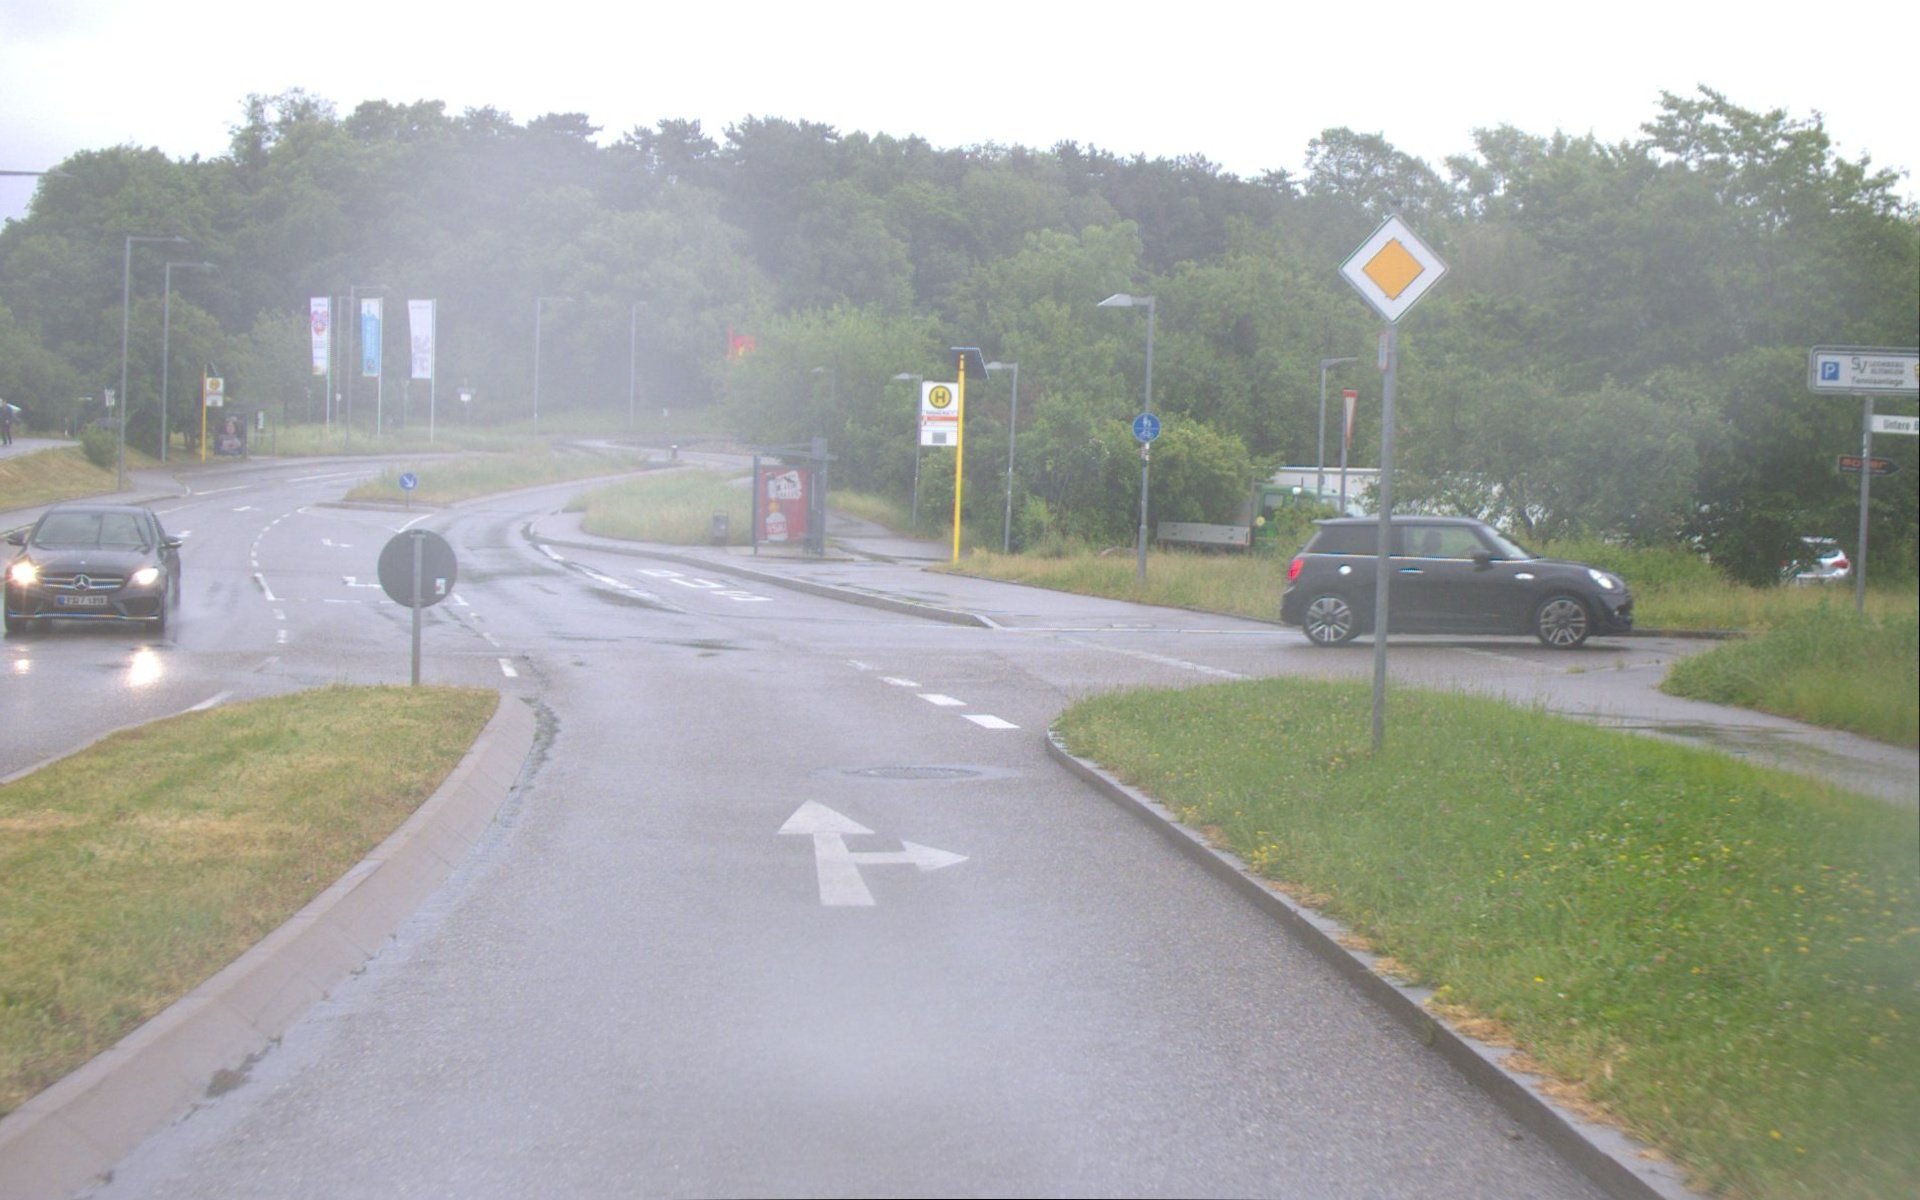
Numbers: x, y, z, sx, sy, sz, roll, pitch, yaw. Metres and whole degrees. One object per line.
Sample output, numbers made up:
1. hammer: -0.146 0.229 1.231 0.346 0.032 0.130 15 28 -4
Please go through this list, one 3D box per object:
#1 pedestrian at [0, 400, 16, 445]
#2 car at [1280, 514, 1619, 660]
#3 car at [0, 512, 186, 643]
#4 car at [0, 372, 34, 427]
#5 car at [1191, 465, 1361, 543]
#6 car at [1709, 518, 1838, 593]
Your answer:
1. pedestrian: -34.876 -6.477 125.721 0.565 1.614 0.637 1 1 -22
2. car: 5.362 -0.159 37.572 3.524 1.351 1.459 4 2 11
3. car: -10.265 -0.310 40.722 1.967 1.409 4.417 -1 2 -11
4. car: -44.787 -9.083 155.038 5.674 2.396 2.001 1 1 -10
5. car: 7.470 -2.250 81.257 3.420 1.684 1.995 1 -2 39
6. car: 18.293 -1.030 77.441 1.930 1.502 4.001 1 3 0
